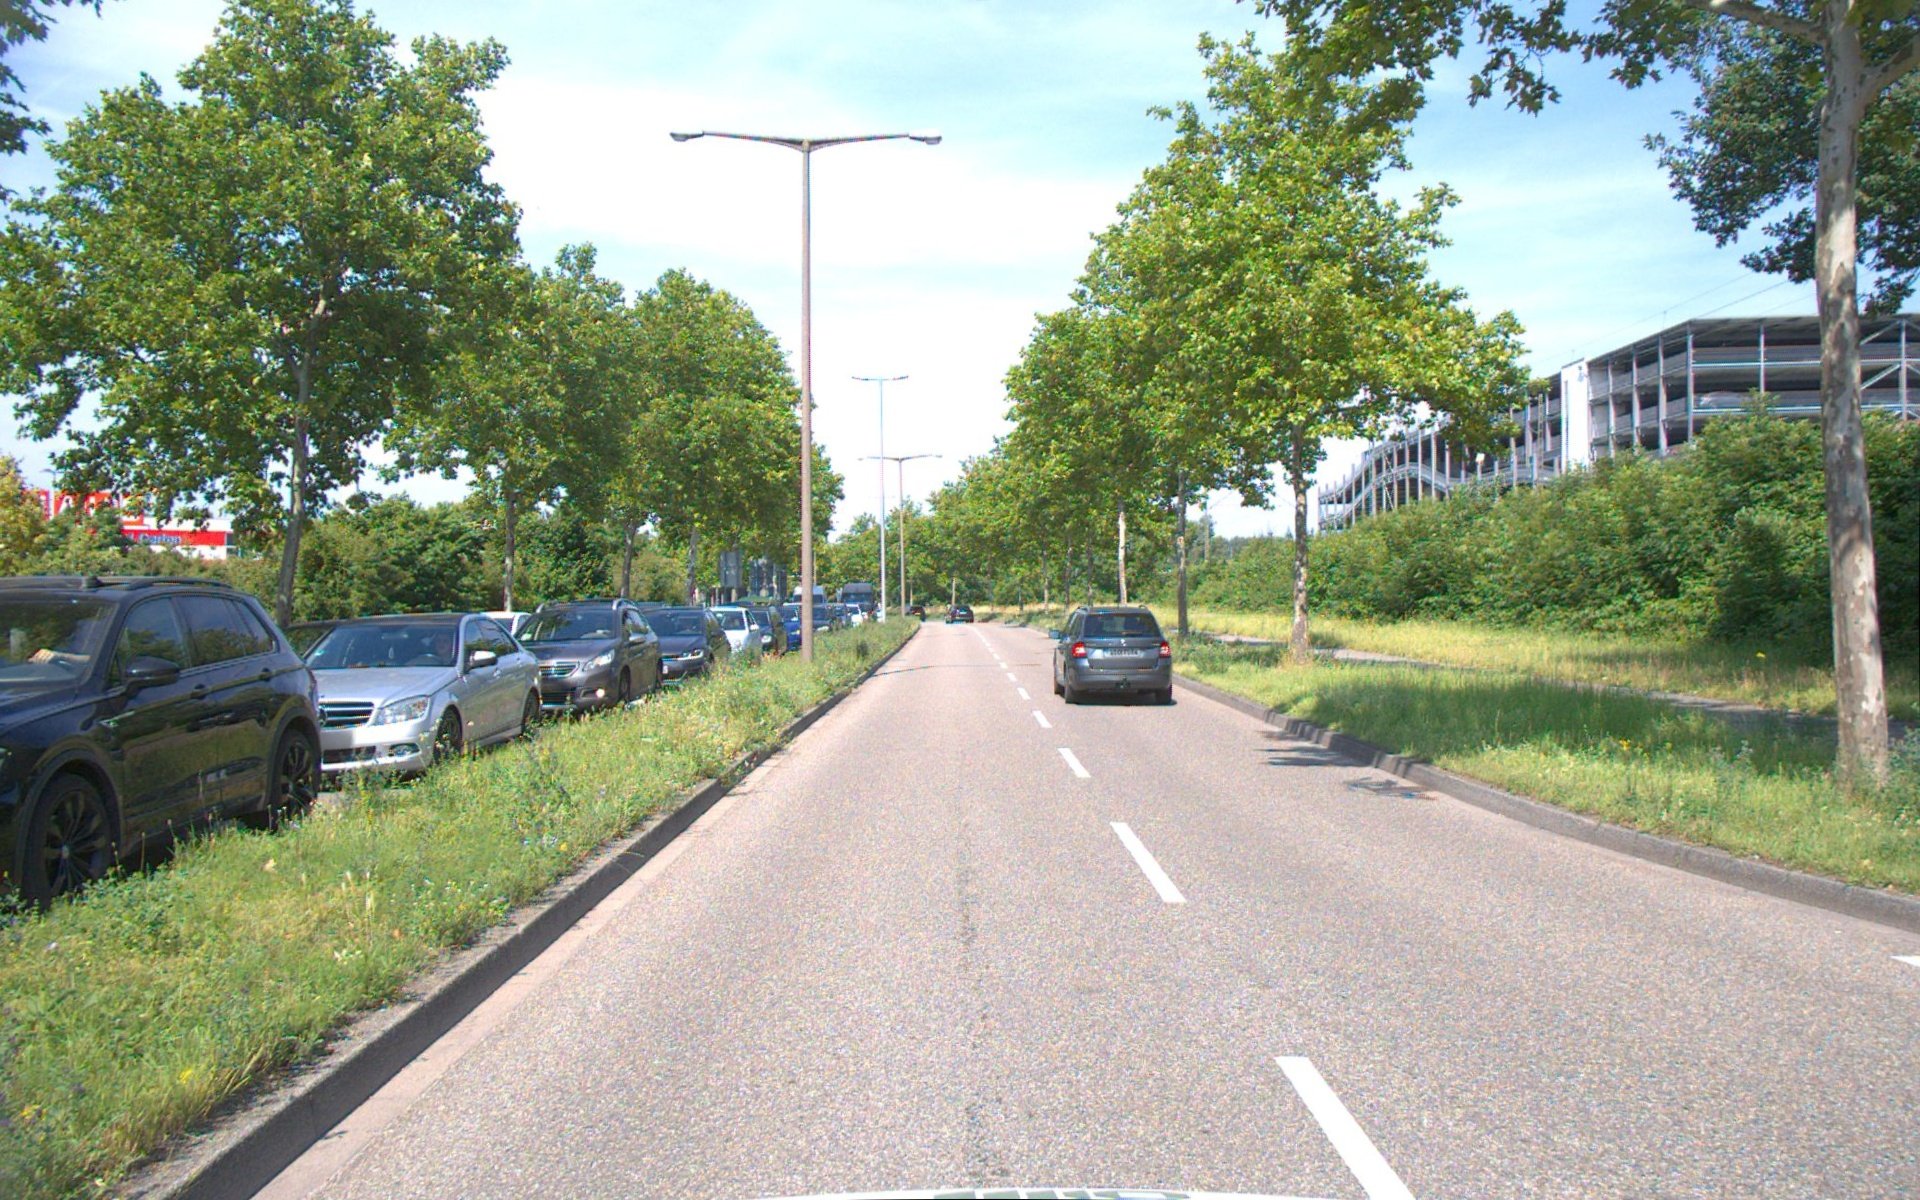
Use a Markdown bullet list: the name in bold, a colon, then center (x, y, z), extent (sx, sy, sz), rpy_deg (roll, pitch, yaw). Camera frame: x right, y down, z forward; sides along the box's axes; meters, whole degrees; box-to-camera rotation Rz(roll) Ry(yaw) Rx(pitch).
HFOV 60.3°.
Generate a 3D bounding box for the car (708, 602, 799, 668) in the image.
- **car**: center (-5.227, 0.847, 42.413), extent (1.722, 1.557, 4.827), rpy_deg (-1, 0, 0)

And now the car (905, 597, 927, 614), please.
- **car**: center (-4.068, 0.515, 152.269), extent (1.870, 1.489, 4.579), rpy_deg (0, 0, -4)

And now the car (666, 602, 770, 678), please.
- **car**: center (-5.082, 0.806, 35.177), extent (1.654, 1.497, 3.814), rpy_deg (-1, 0, 0)

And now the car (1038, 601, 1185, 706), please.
- **car**: center (2.301, 0.784, 26.082), extent (1.641, 1.479, 4.032), rpy_deg (1, 0, -4)

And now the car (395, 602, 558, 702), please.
- **car**: center (-8.306, 0.842, 28.750), extent (1.655, 1.557, 4.083), rpy_deg (-2, 0, -1)

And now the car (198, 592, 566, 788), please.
- **car**: center (-5.057, 0.701, 15.188), extent (1.760, 1.493, 4.522), rpy_deg (-1, 0, 0)

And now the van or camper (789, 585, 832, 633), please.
- **van or camper**: center (-8.702, 0.509, 96.496), extent (1.974, 2.633, 5.516), rpy_deg (-1, 0, 0)

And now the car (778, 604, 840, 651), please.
- **car**: center (-5.079, 0.893, 56.251), extent (1.786, 1.491, 4.449), rpy_deg (-1, 0, -2)

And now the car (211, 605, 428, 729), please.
- **car**: center (-8.627, 0.846, 22.578), extent (1.533, 1.477, 3.544), rpy_deg (-3, 0, 0)

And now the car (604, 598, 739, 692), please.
- **car**: center (-5.073, 0.749, 29.578), extent (1.654, 1.499, 4.217), rpy_deg (-2, 0, 0)

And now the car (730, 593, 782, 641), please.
- **car**: center (-8.492, 0.709, 69.086), extent (1.654, 1.891, 4.036), rpy_deg (-1, -1, 0)

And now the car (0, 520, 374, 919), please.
- **car**: center (-4.931, 0.560, 9.054), extent (1.783, 1.675, 4.693), rpy_deg (-1, -1, 0)

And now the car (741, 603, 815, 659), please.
- **car**: center (-5.227, 0.872, 47.989), extent (1.748, 1.515, 4.210), rpy_deg (-1, 0, -2)

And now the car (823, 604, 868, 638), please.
- **car**: center (-5.192, 0.942, 75.379), extent (1.747, 1.484, 4.471), rpy_deg (-1, 0, 0)

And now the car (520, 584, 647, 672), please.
- **car**: center (-8.070, 0.607, 35.879), extent (1.785, 1.767, 4.766), rpy_deg (-1, -1, -2)

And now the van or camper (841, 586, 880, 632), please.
- **van or camper**: center (-5.435, 0.522, 90.949), extent (1.899, 2.410, 5.396), rpy_deg (-1, -1, -2)

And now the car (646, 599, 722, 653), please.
- **car**: center (-8.369, 0.771, 50.388), extent (1.654, 1.557, 3.939), rpy_deg (-1, 0, 0)

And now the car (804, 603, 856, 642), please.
- **car**: center (-5.415, 0.909, 69.329), extent (1.776, 1.557, 4.641), rpy_deg (-1, 0, 0)

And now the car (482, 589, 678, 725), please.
- **car**: center (-4.983, 0.693, 22.241), extent (1.654, 1.614, 4.239), rpy_deg (-1, 0, 0)

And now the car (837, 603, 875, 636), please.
- **car**: center (-5.115, 0.942, 81.811), extent (1.654, 1.537, 3.814), rpy_deg (-1, 0, 0)

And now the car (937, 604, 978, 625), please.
- **car**: center (-0.188, 1.102, 126.351), extent (1.878, 1.488, 4.600), rpy_deg (0, 1, -17)

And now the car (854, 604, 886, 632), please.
- **car**: center (-5.329, 1.087, 98.476), extent (1.654, 1.557, 3.814), rpy_deg (-1, -1, 0)
